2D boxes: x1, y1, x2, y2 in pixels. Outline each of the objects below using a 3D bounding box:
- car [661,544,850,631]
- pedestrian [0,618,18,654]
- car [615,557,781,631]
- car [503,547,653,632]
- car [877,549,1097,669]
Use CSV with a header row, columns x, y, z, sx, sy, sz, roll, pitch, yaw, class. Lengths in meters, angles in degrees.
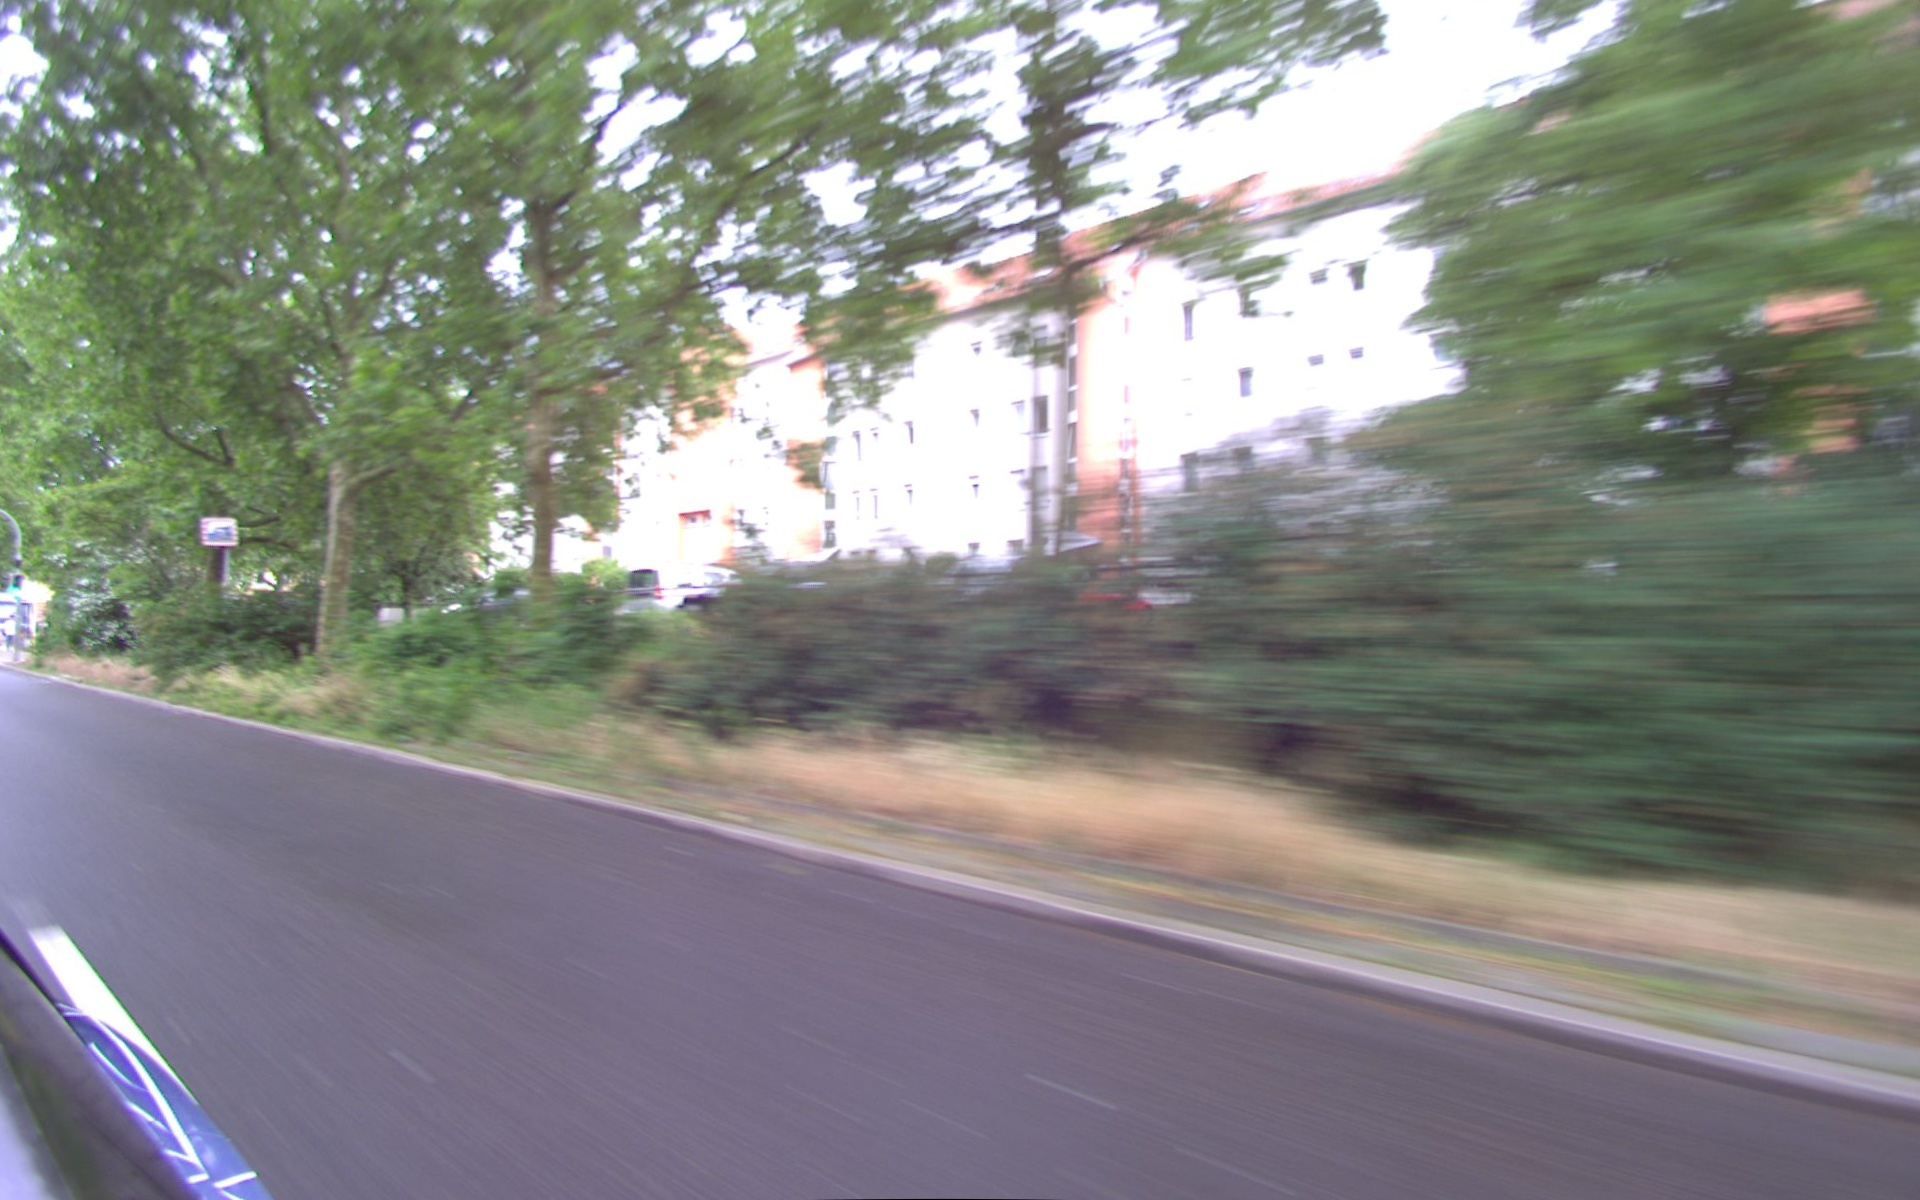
x,y,z,sx,sy,sz,roll,pitch,yaw,class
-4.656,-0.193,23.458,1.958,1.808,3.945,-2,-3,41,car
-44.809,1.680,47.569,0.630,1.697,0.640,-2,-3,41,pedestrian
-6.462,-0.149,25.275,1.736,1.701,3.755,-1,0,38,car
-9.932,-0.207,26.218,3.998,2.029,1.973,-2,-2,41,car
0.583,0.227,19.105,3.939,2.029,1.958,2,-3,-43,car
